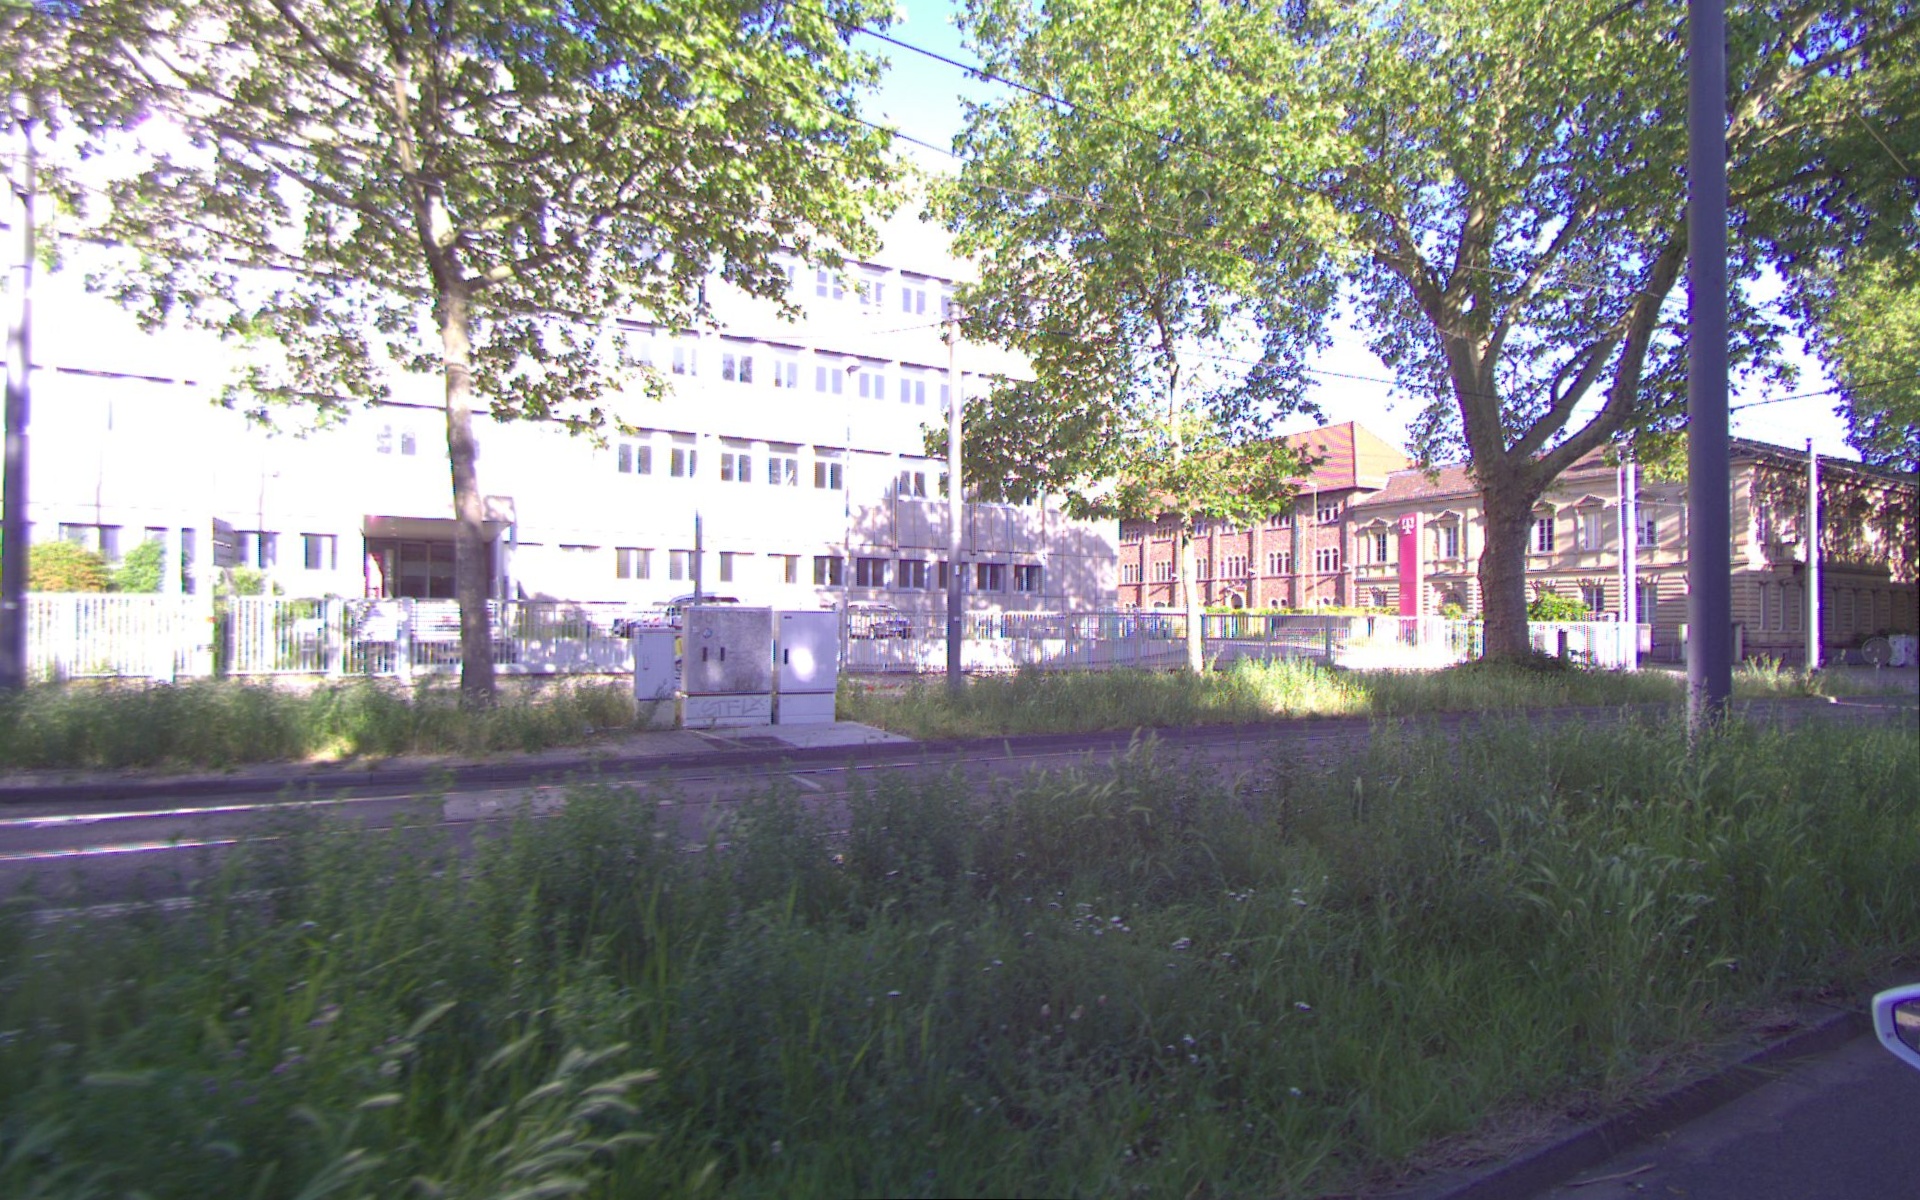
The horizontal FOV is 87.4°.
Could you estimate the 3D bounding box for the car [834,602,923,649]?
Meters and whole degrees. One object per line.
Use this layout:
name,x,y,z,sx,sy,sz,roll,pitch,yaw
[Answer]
car,-3.774,1.184,45.902,1.980,2.040,4.709,1,-2,-35

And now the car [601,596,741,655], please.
car,-10.519,0.942,36.594,4.660,2.040,1.988,1,-2,-25

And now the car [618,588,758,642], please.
car,-9.150,0.527,33.790,4.318,1.726,1.988,1,-2,-25
